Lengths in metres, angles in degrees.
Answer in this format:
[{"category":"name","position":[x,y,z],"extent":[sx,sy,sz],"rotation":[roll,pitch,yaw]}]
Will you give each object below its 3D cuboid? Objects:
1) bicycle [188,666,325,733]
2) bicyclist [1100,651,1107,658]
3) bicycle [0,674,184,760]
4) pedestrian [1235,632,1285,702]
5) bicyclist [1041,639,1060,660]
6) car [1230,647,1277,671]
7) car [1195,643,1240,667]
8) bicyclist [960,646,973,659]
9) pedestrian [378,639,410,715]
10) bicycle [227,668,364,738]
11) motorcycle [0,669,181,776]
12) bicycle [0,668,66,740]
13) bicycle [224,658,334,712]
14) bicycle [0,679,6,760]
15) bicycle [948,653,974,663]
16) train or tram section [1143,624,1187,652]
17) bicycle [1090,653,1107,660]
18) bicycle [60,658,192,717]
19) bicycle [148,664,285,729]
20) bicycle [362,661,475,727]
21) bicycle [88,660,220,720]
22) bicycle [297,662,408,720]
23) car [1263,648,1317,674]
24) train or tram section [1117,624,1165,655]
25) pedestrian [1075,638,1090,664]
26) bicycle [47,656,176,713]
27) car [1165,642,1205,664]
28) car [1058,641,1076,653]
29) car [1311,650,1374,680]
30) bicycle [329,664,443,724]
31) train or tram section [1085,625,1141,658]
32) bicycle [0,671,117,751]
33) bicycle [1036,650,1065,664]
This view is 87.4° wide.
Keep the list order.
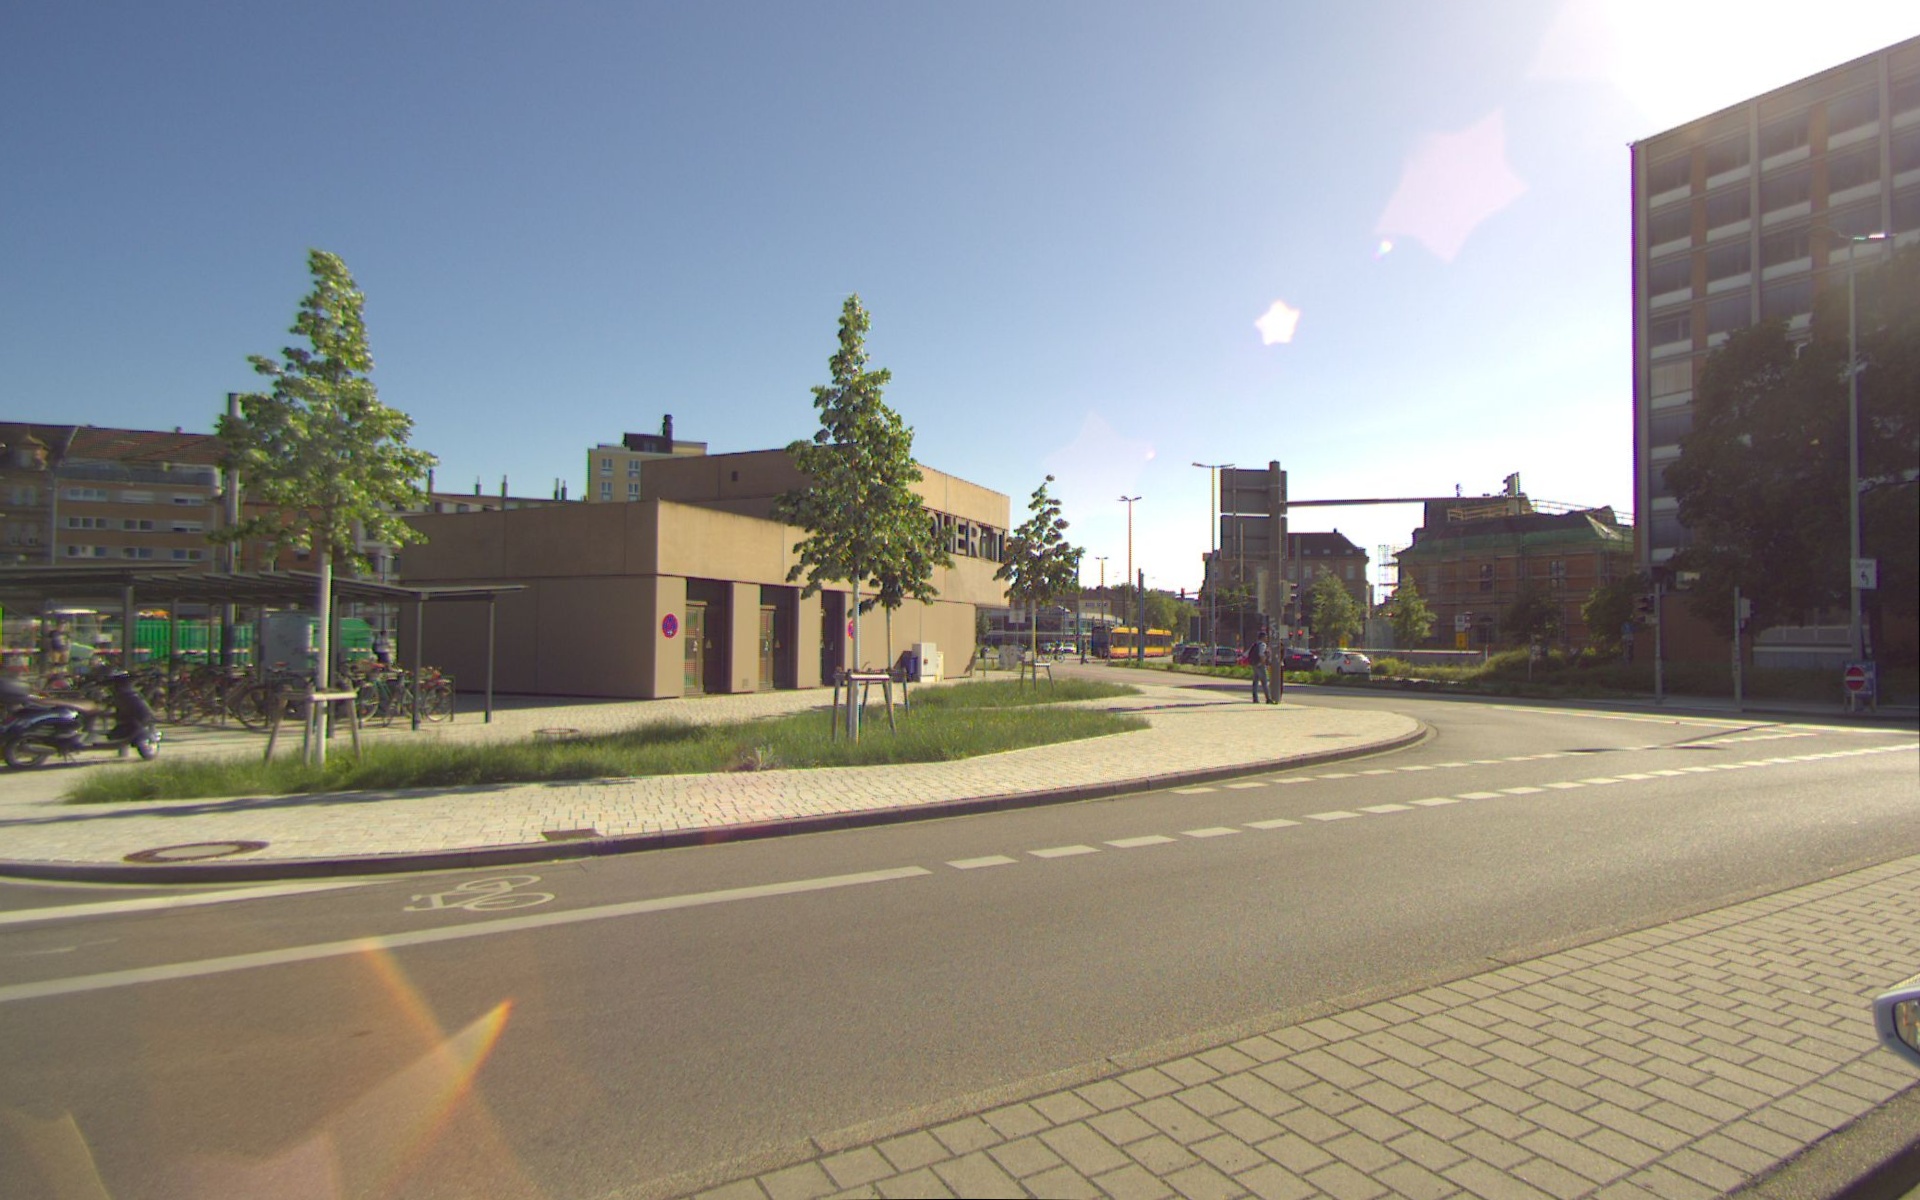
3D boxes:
[{"category":"bicycle","position":[-11.888,1.655,17.054],"extent":[0.449,1.022,1.902],"rotation":[0,-2,26]},{"category":"bicyclist","position":[12.121,4.618,84.736],"extent":[0.560,0.556,0.431],"rotation":[0,-2,11]},{"category":"bicycle","position":[-11.813,1.559,13.718],"extent":[0.449,1.022,1.902],"rotation":[0,-2,26]},{"category":"pedestrian","position":[7.622,1.694,25.550],"extent":[1.044,1.753,0.652],"rotation":[1,-2,-16]},{"category":"bicyclist","position":[7.714,4.240,85.881],"extent":[1.544,1.655,0.811],"rotation":[2,0,4]},{"category":"car","position":[20.208,4.036,69.247],"extent":[1.760,1.528,3.880],"rotation":[1,-2,-6]},{"category":"car","position":[17.460,3.698,68.267],"extent":[1.760,1.528,3.880],"rotation":[1,-2,-6]},{"category":"bicyclist","position":[0.627,4.877,92.792],"extent":[0.953,1.182,0.892],"rotation":[1,-2,-19]},{"category":"pedestrian","position":[-15.591,2.108,27.690],"extent":[0.710,2.040,0.682],"rotation":[1,-2,-30]},{"category":"bicycle","position":[-10.909,1.665,16.565],"extent":[0.449,1.022,1.902],"rotation":[0,-2,26]},{"category":"motorcycle","position":[-10.918,1.478,12.465],"extent":[0.508,1.166,1.947],"rotation":[0,-2,25]},{"category":"bicycle","position":[-14.157,1.511,14.441],"extent":[0.449,1.022,1.902],"rotation":[0,-2,26]},{"category":"bicycle","position":[-14.072,1.731,20.824],"extent":[0.449,1.022,1.902],"rotation":[0,-2,26]},{"category":"bicycle","position":[-12.744,1.487,11.998],"extent":[0.449,1.022,1.902],"rotation":[0,-2,26]},{"category":"bicycle","position":[0.114,5.346,92.612],"extent":[2.207,0.894,0.892],"rotation":[1,-2,-19]},{"category":"train or tram section","position":[26.020,4.755,126.940],"extent":[2.651,3.275,10.589],"rotation":[2,0,27]},{"category":"bicycle","position":[11.714,4.771,84.814],"extent":[1.381,0.556,0.435],"rotation":[0,-2,11]},{"category":"bicycle","position":[-15.916,1.647,19.235],"extent":[0.449,1.022,1.902],"rotation":[0,-2,26]},{"category":"bicycle","position":[-12.897,1.651,17.484],"extent":[0.449,1.022,1.902],"rotation":[0,-2,26]},{"category":"bicycle","position":[-9.926,1.699,18.485],"extent":[0.449,1.112,1.902],"rotation":[0,-2,26]},{"category":"bicycle","position":[-15.080,1.659,18.859],"extent":[0.449,1.022,1.902],"rotation":[0,-2,26]},{"category":"bicycle","position":[-11.796,1.746,19.572],"extent":[0.449,1.022,1.902],"rotation":[0,-2,26]},{"category":"car","position":[20.579,3.771,62.786],"extent":[1.760,1.528,3.880],"rotation":[1,-2,-6]},{"category":"train or tram section","position":[21.279,4.564,117.510],"extent":[2.651,3.275,10.589],"rotation":[2,0,27]},{"category":"pedestrian","position":[9.948,4.133,81.686],"extent":[1.023,2.040,0.724],"rotation":[1,-2,-9]},{"category":"bicycle","position":[-16.699,1.642,19.833],"extent":[0.449,1.022,1.902],"rotation":[0,-2,26]},{"category":"car","position":[16.779,3.934,74.994],"extent":[1.760,1.528,3.880],"rotation":[1,-2,-6]},{"category":"car","position":[15.089,6.655,141.443],"extent":[1.709,1.672,4.002],"rotation":[0,-2,17]},{"category":"car","position":[21.252,3.597,55.930],"extent":[1.760,1.528,3.880],"rotation":[1,-2,-6]},{"category":"bicycle","position":[-10.706,1.737,18.814],"extent":[0.449,1.022,1.902],"rotation":[0,-2,26]},{"category":"train or tram section","position":[16.569,4.375,108.032],"extent":[2.651,3.275,10.589],"rotation":[2,0,27]},{"category":"bicycle","position":[-13.028,1.539,14.010],"extent":[0.449,1.022,1.902],"rotation":[0,-2,26]},{"category":"bicycle","position":[7.722,4.834,85.896],"extent":[2.370,1.076,0.811],"rotation":[2,0,4]}]
